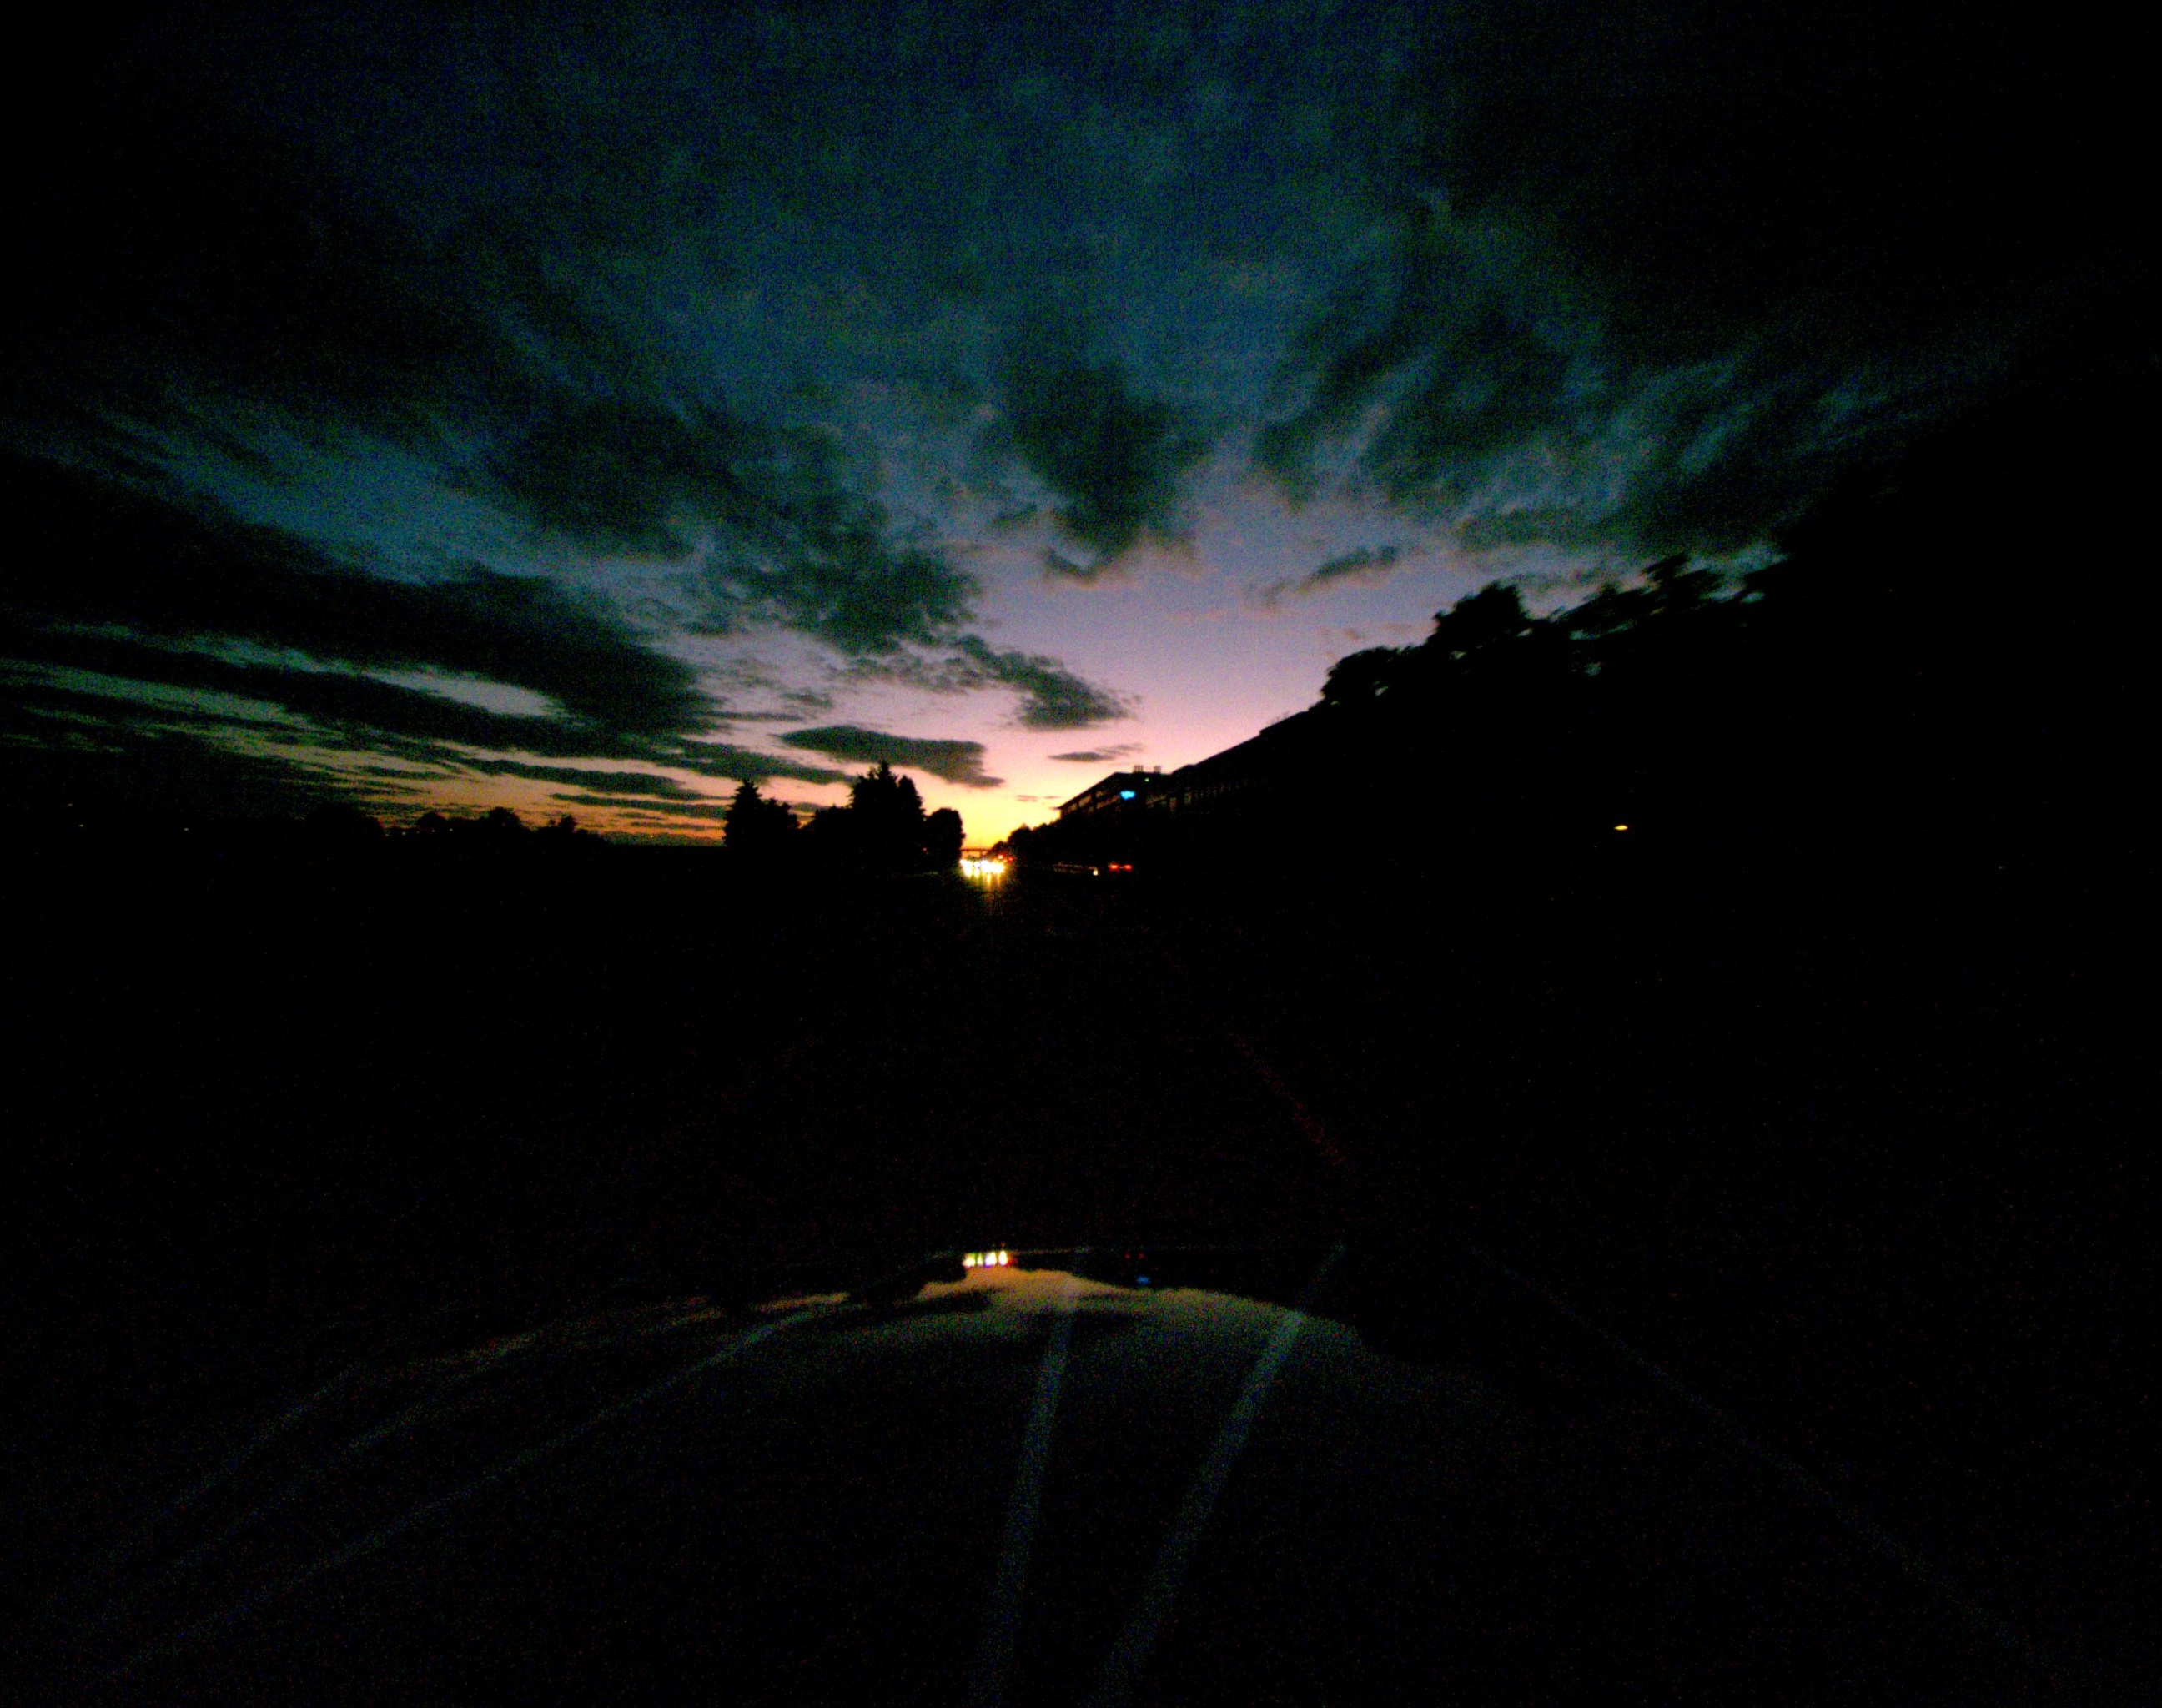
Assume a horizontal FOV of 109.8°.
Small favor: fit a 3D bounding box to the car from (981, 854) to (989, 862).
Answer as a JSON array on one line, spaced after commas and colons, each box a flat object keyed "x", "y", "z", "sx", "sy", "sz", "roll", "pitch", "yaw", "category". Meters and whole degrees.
[{"x": -22.503, "y": 0.924, "z": 178.112, "sx": 1.833, "sy": 1.739, "sz": 3.848, "roll": -3, "pitch": 0, "yaw": -6, "category": "car"}]

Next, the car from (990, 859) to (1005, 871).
[{"x": -10.113, "y": 1.301, "z": 91.750, "sx": 1.757, "sy": 1.447, "sz": 3.801, "roll": -1, "pitch": 0, "yaw": -7, "category": "car"}]

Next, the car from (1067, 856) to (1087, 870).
[{"x": -0.520, "y": 0.965, "z": 84.526, "sx": 1.698, "sy": 1.524, "sz": 3.997, "roll": -1, "pitch": 0, "yaw": -8, "category": "car"}]

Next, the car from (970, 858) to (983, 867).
[{"x": -20.005, "y": 1.618, "z": 145.856, "sx": 1.999, "sy": 1.574, "sz": 3.999, "roll": -2, "pitch": 0, "yaw": -1, "category": "car"}]

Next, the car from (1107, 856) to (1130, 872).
[{"x": 3.852, "y": 0.999, "z": 78.364, "sx": 1.706, "sy": 1.613, "sz": 4.304, "roll": -1, "pitch": 0, "yaw": -7, "category": "car"}]

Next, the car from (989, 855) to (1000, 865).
[{"x": -18.346, "y": 1.299, "z": 161.919, "sx": 1.862, "sy": 2.002, "sz": 3.999, "roll": -2, "pitch": 0, "yaw": -1, "category": "car"}]
